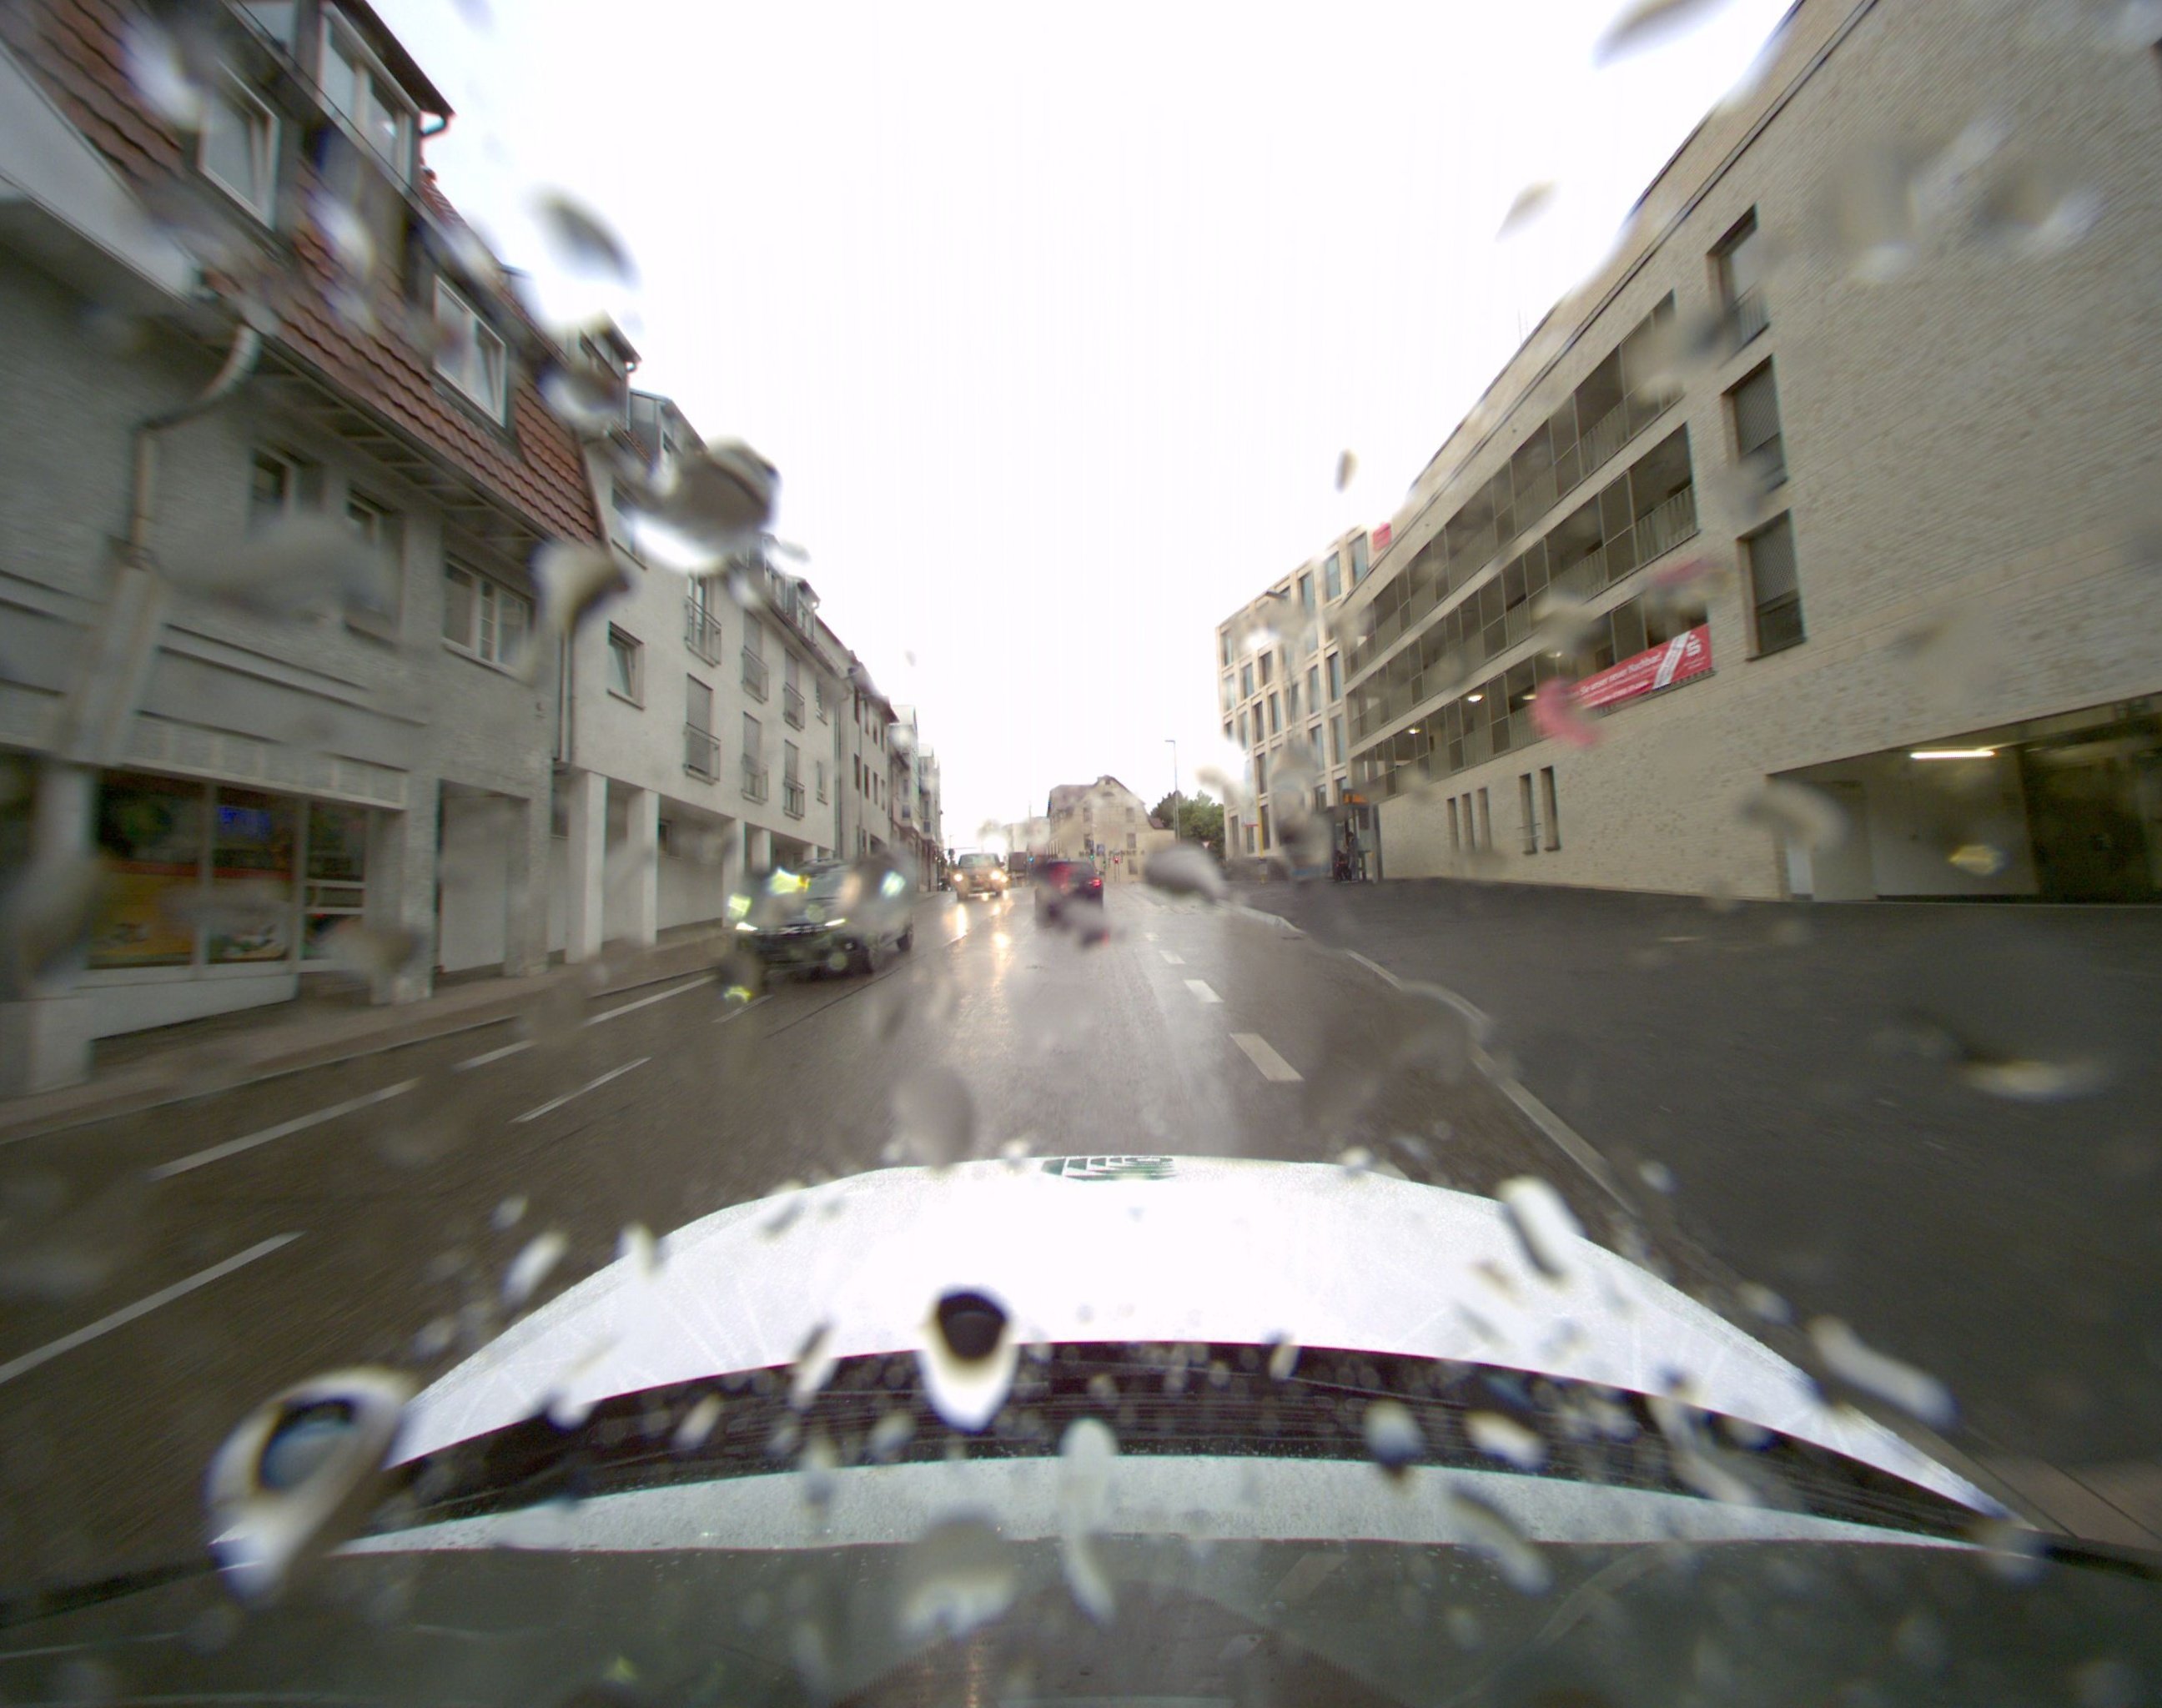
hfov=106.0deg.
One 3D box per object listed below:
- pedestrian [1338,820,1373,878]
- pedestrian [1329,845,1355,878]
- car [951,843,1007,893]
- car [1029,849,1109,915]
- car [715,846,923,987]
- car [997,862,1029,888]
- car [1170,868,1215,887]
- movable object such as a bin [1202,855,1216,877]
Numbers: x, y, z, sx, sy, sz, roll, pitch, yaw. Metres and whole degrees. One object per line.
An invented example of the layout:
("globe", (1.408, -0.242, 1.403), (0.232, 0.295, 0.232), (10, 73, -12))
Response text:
("pedestrian", (9.566, -0.166, 28.428), (0.779, 1.940, 1.021), (-4, -1, 1))
("pedestrian", (9.528, 0.282, 29.700), (0.669, 1.162, 0.635), (-4, -1, 1))
("car", (-4.387, 0.603, 35.782), (1.927, 1.907, 5.038), (-4, 0, -3))
("car", (-0.356, 0.706, 22.509), (1.939, 1.567, 4.414), (-2, 0, -2))
("car", (-3.718, 0.795, 12.467), (1.777, 1.694, 4.456), (-2, 0, -2))
("car", (-4.192, 1.287, 50.486), (1.683, 1.444, 3.907), (-2, 0, -2))
("car", (12.031, 2.536, 87.904), (4.310, 1.505, 1.769), (-4, -6, -16))
("movable object such as a bin", (6.421, 0.593, 40.902), (0.593, 1.062, 0.579), (-3, -1, 0))
